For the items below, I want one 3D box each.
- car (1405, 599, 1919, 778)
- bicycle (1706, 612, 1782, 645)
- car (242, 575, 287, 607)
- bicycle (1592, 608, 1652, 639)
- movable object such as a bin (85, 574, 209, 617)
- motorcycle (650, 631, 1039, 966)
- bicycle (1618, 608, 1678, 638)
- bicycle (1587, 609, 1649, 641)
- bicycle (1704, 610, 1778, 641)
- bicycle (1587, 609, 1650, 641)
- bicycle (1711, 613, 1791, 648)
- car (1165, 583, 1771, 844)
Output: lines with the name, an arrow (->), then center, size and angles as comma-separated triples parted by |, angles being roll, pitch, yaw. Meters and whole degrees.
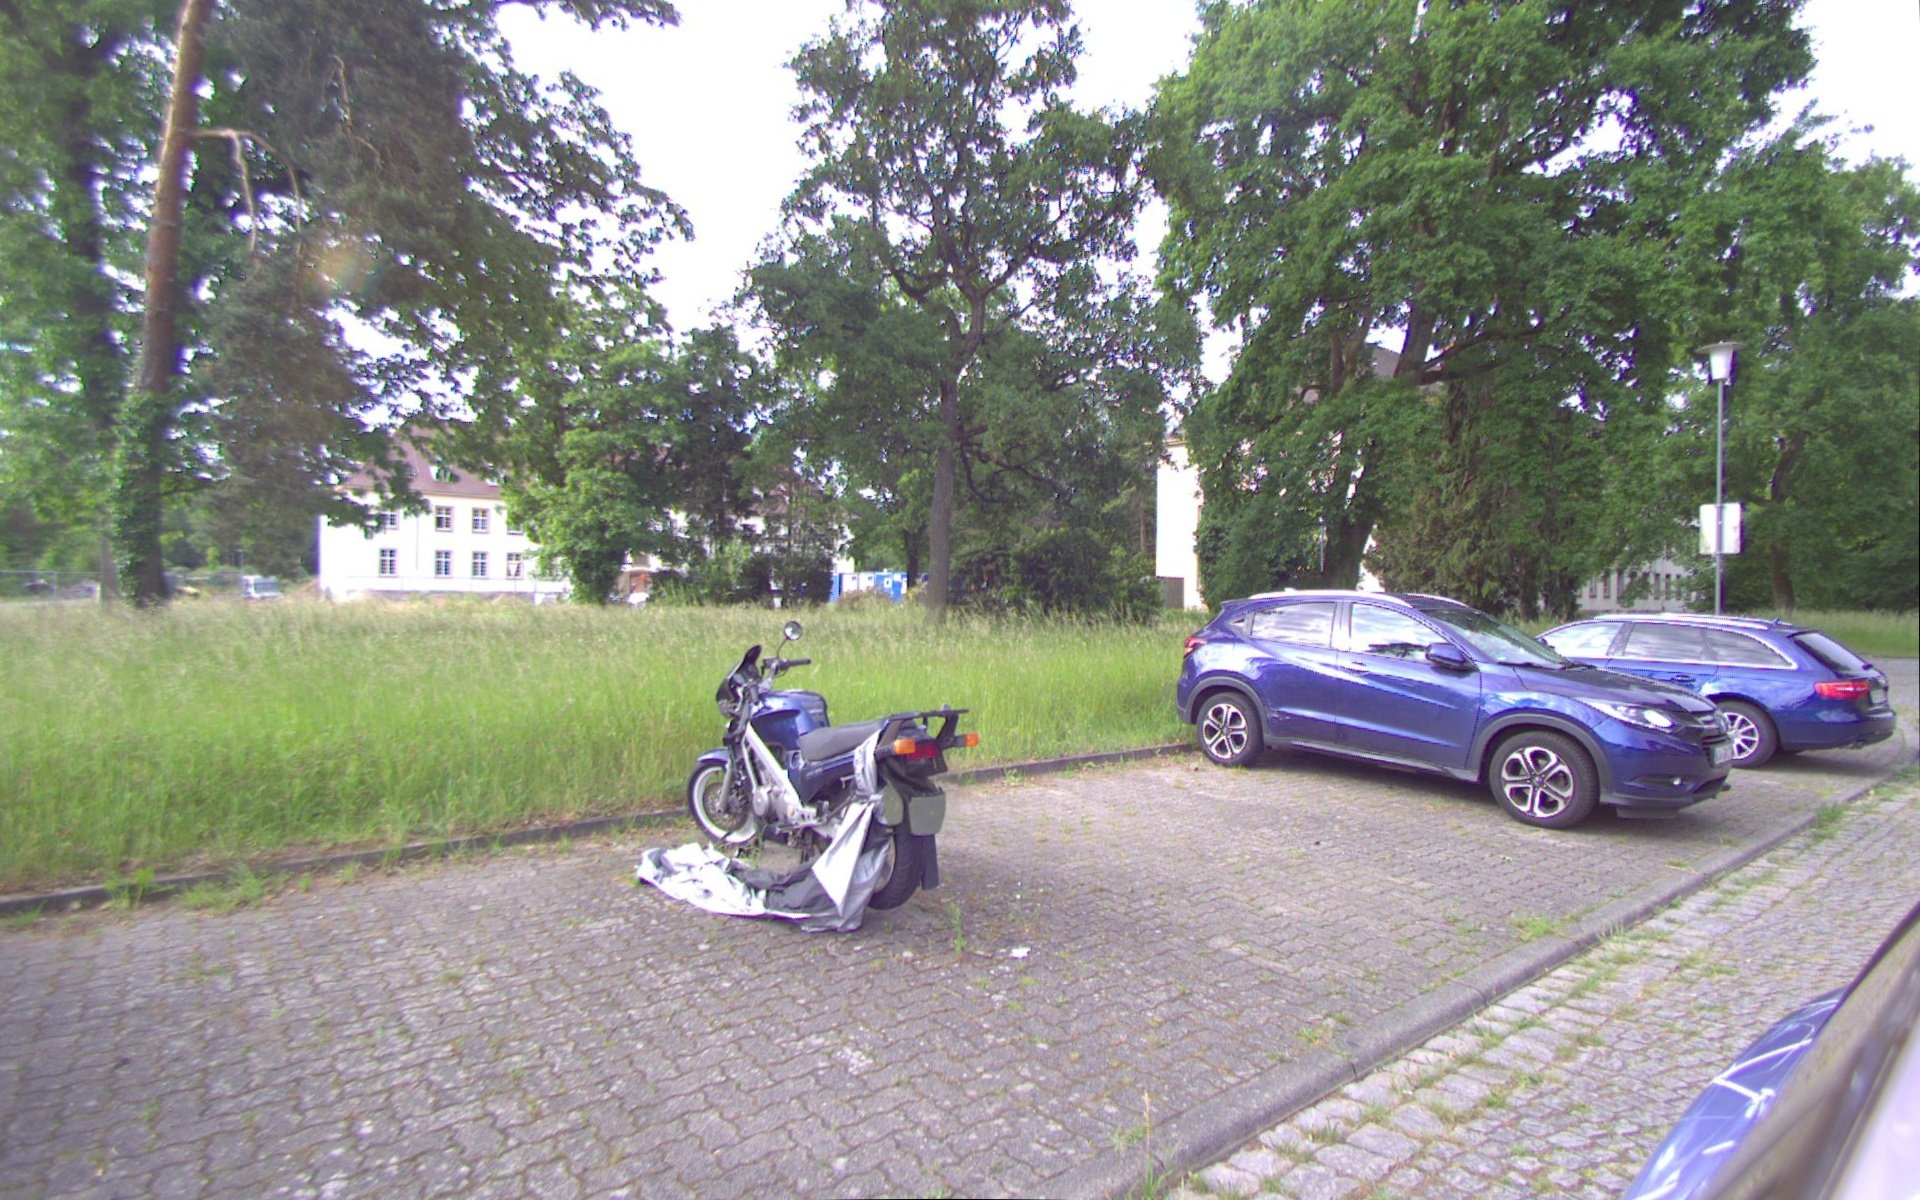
car -> 7.539, 0.782, 11.232 | 1.751, 1.439, 4.485 | 1, 1, -36
bicycle -> 26.777, 0.956, 34.578 | 1.952, 1.090, 0.583 | 0, 0, 24
car -> -52.774, -0.640, 76.750 | 4.581, 2.378, 1.887 | 0, 0, 44
bicycle -> 25.006, 0.885, 38.243 | 1.840, 1.137, 0.615 | 0, 0, 29
movable object such as a bin -> -52.385, -0.296, 65.326 | 5.852, 2.689, 2.179 | 0, 0, -13
motorcycle -> -0.710, 0.827, 5.169 | 0.781, 1.200, 2.331 | 0, 1, -41
bicycle -> 26.811, 0.871, 39.476 | 1.840, 1.137, 0.615 | 0, 0, 29
bicycle -> 23.975, 0.886, 36.922 | 1.840, 1.137, 0.615 | 0, 0, 29
bicycle -> 28.009, 0.906, 36.349 | 2.011, 1.090, 0.615 | 0, 0, 29
bicycle -> 23.639, 0.886, 36.382 | 1.840, 1.137, 0.615 | 0, 0, 29
bicycle -> 25.903, 0.991, 33.183 | 1.952, 1.090, 0.583 | 0, 0, 24
car -> 3.894, 0.660, 8.405 | 1.761, 1.591, 4.172 | -1, 1, -39
